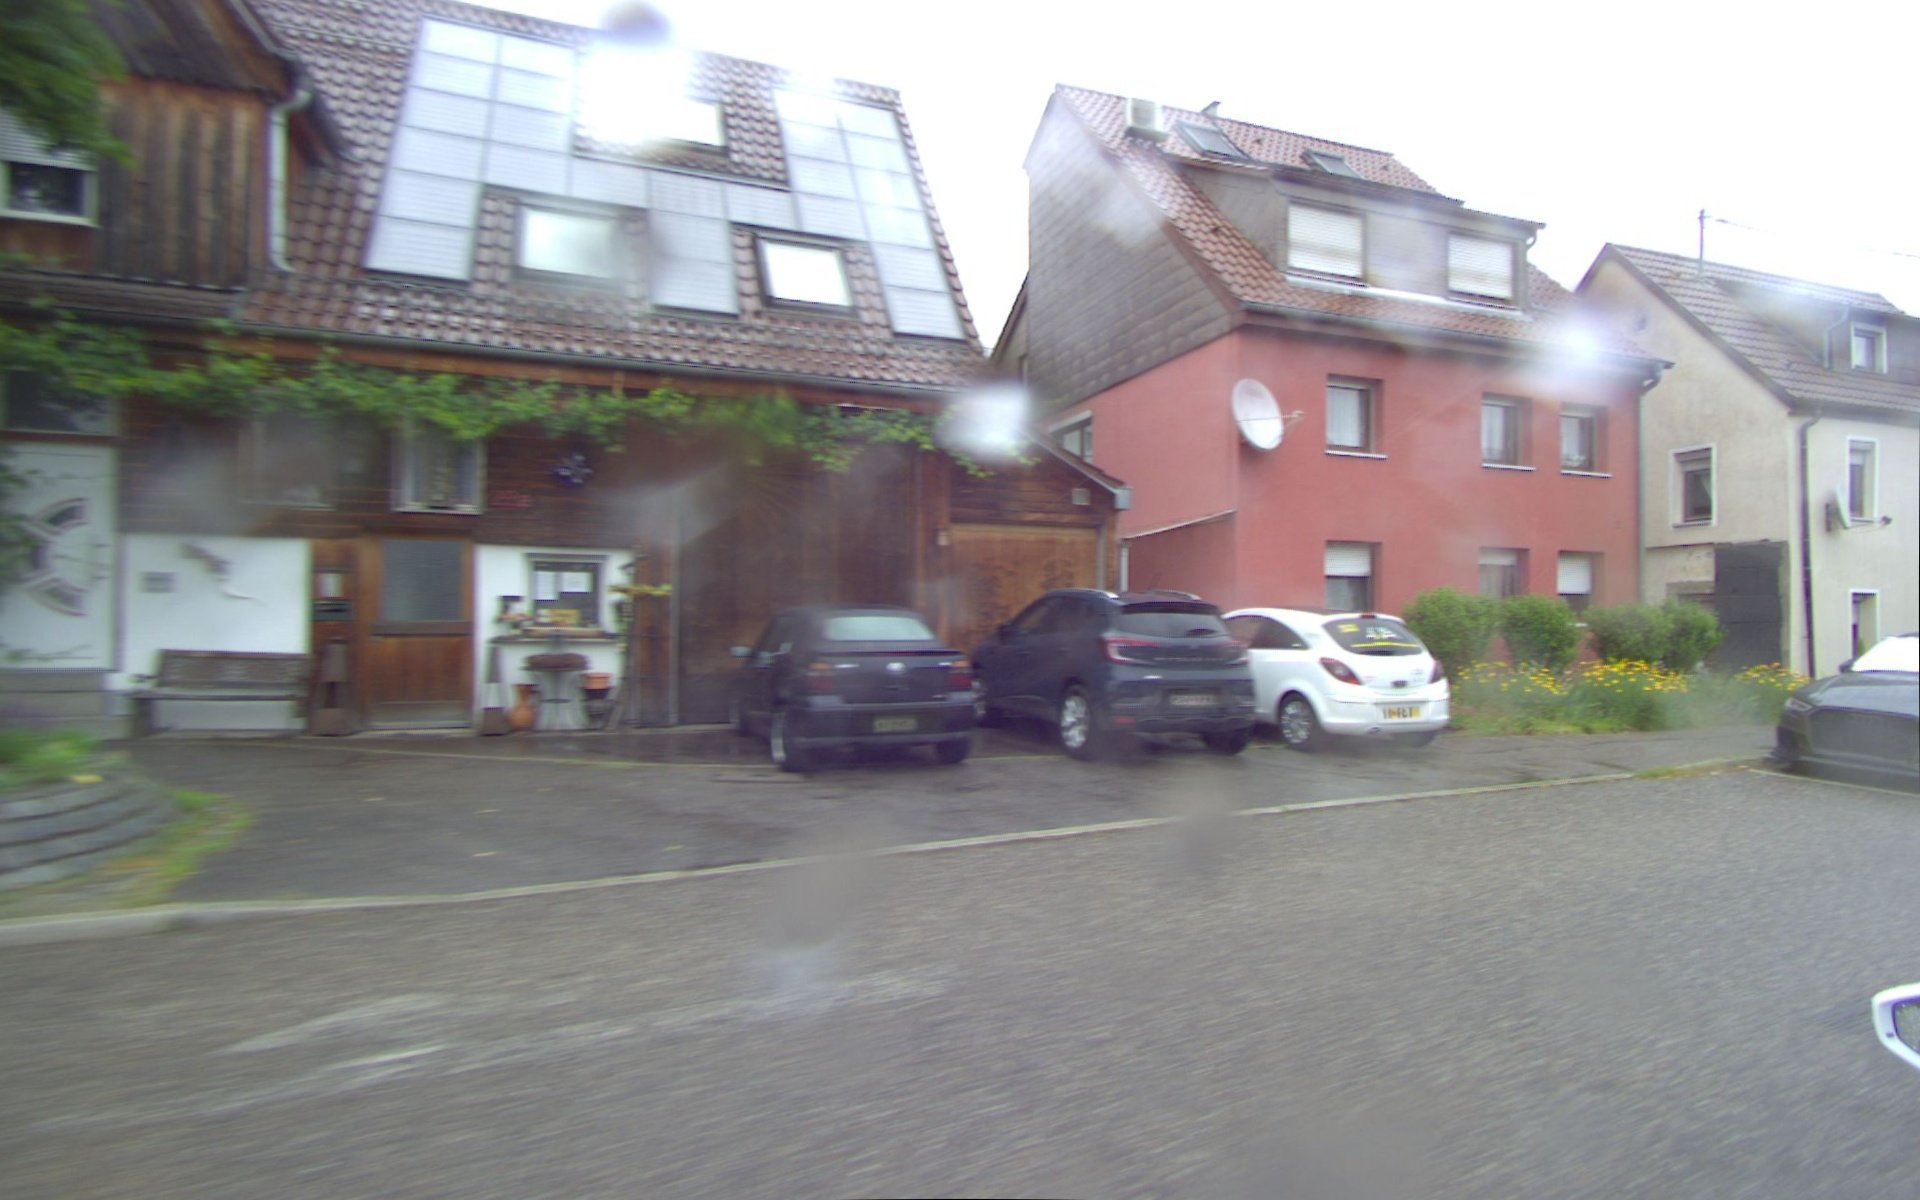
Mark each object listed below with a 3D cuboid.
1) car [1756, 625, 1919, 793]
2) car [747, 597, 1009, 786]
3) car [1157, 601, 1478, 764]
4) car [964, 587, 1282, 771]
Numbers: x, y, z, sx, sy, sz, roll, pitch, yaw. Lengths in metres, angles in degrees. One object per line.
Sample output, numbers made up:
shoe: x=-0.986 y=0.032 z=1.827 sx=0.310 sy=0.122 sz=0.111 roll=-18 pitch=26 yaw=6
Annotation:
car: x=9.826 y=0.992 z=9.731 sx=4.054 sy=1.374 sz=1.622 roll=2 pitch=1 yaw=-24
car: x=-0.956 y=0.755 z=9.576 sx=1.608 sy=1.437 sz=3.441 roll=1 pitch=-2 yaw=-20
car: x=3.850 y=0.803 z=11.423 sx=1.567 sy=1.499 sz=3.456 roll=2 pitch=0 yaw=-20
car: x=1.492 y=0.674 z=10.552 sx=1.826 sy=1.526 sz=3.572 roll=1 pitch=1 yaw=-19
